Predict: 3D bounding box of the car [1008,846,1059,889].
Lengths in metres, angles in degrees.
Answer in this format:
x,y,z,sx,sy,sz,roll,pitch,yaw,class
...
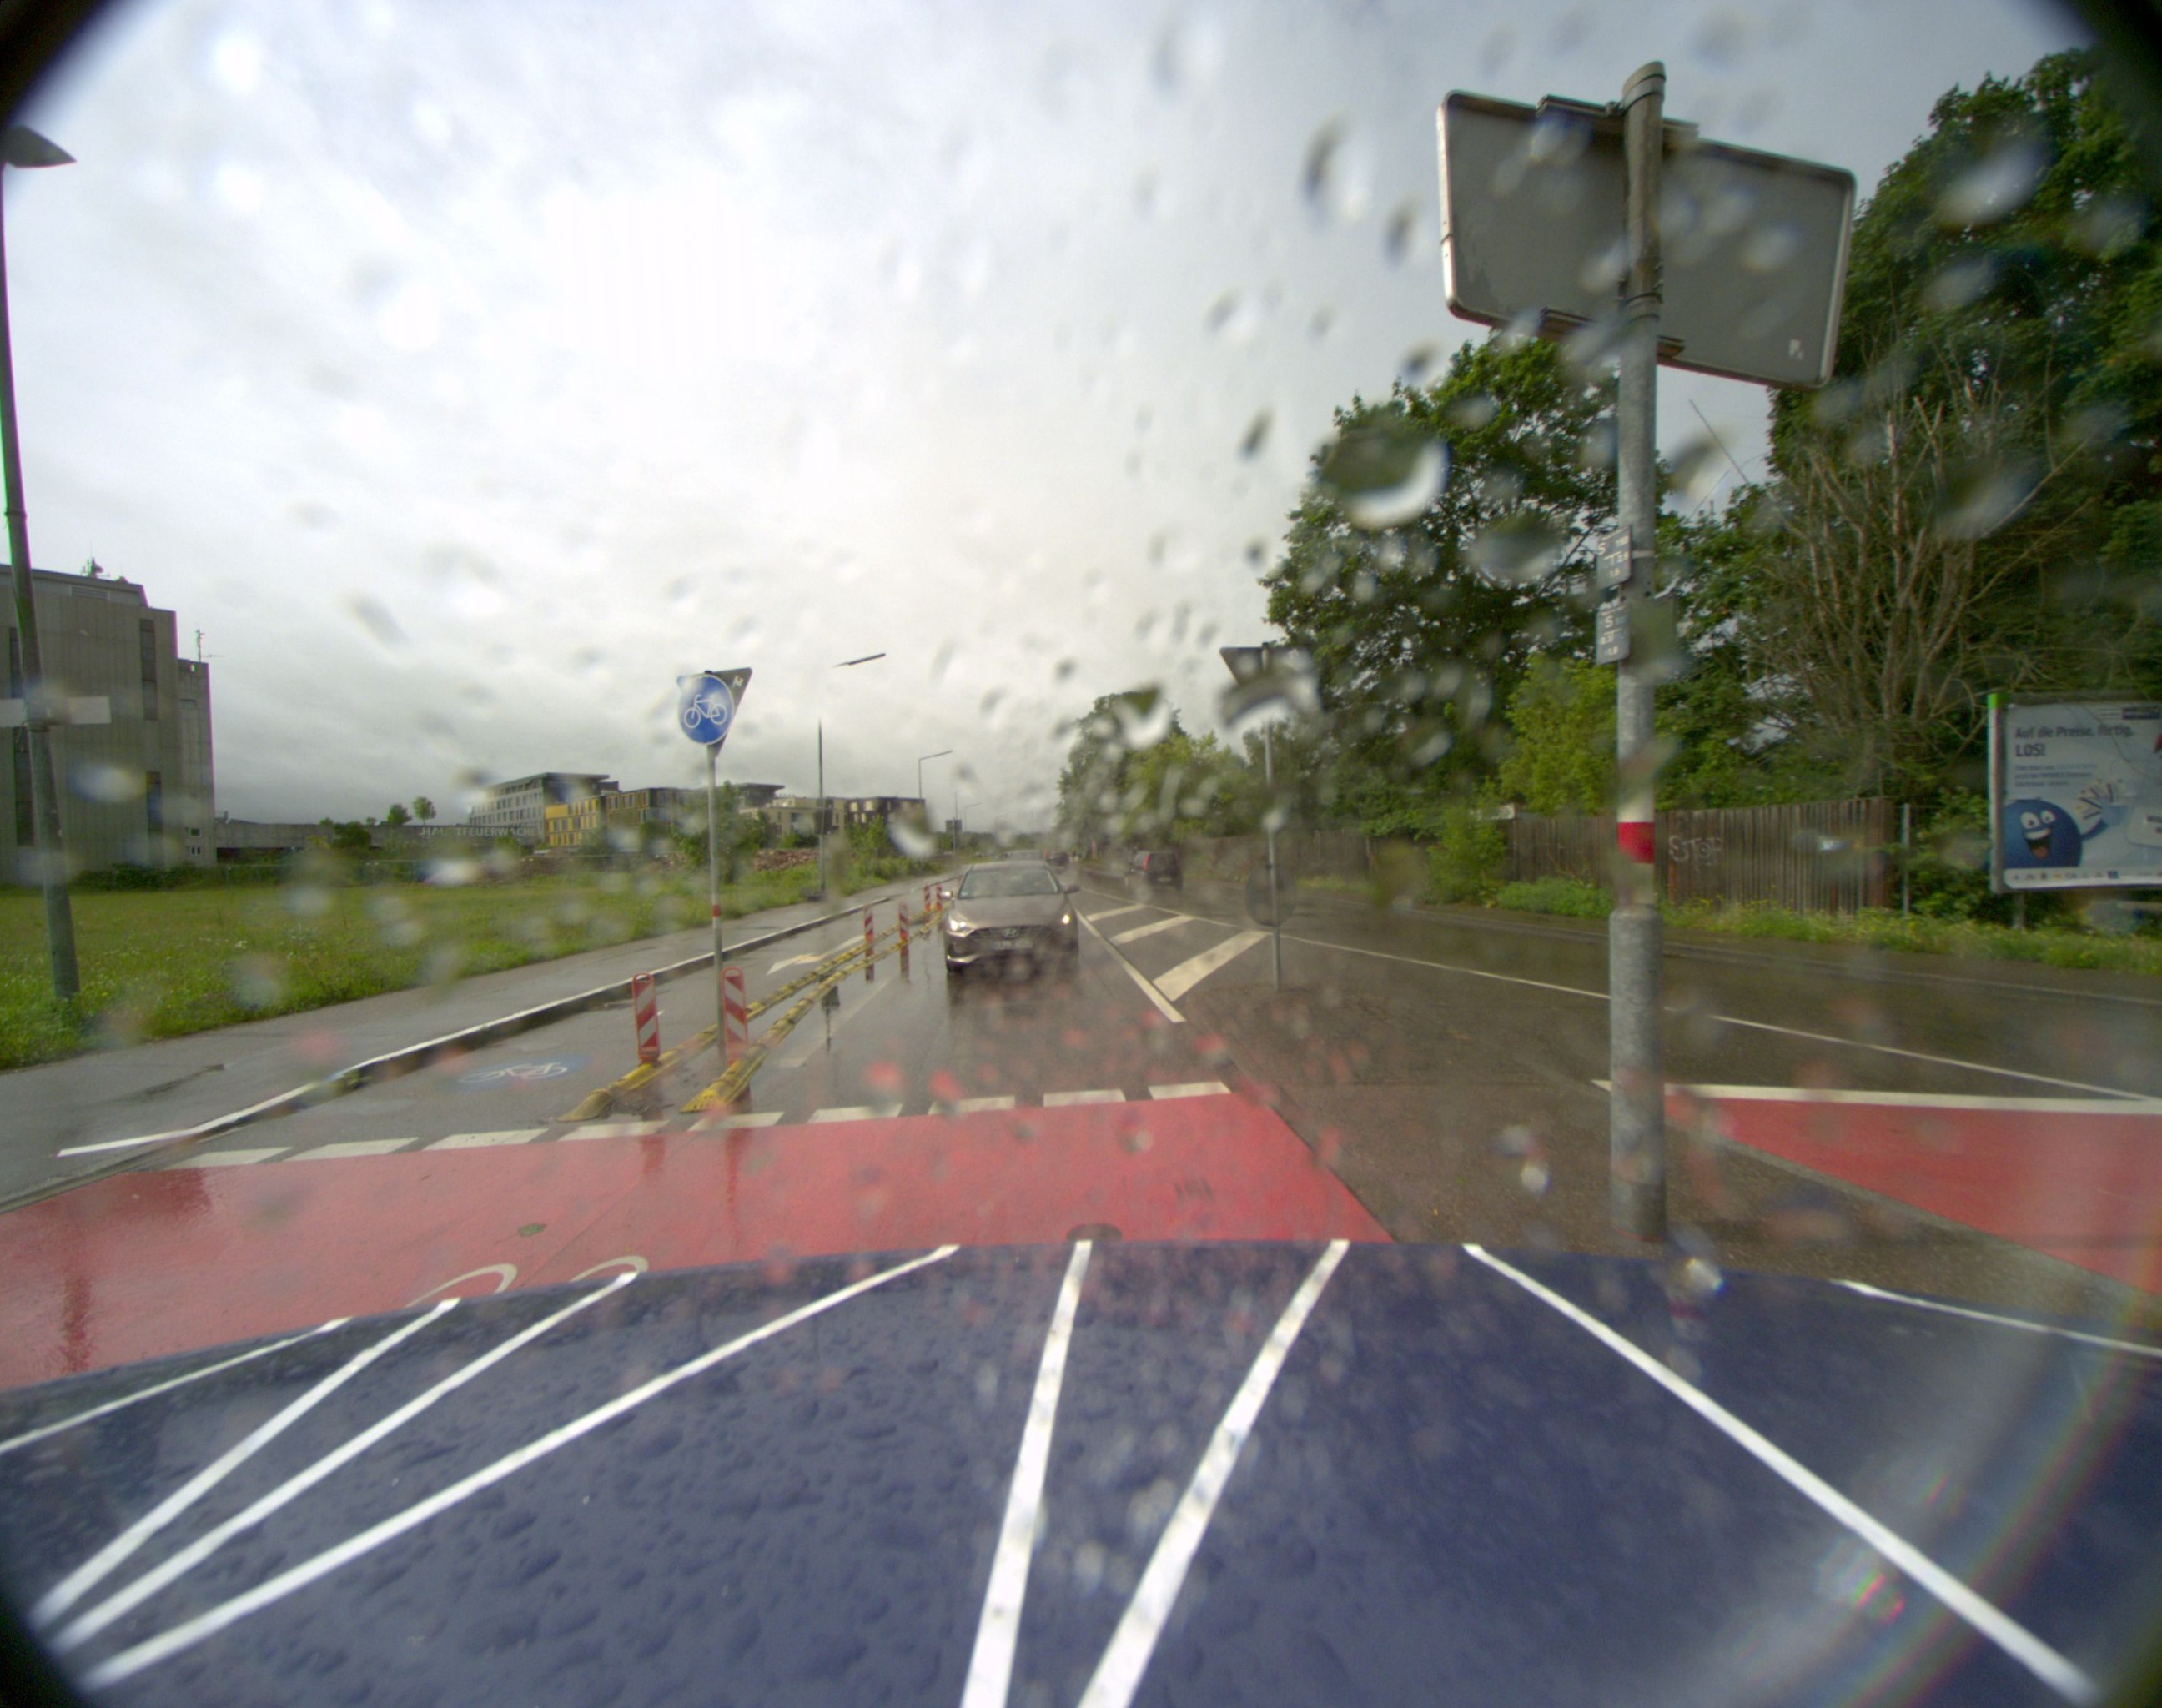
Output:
x,y,z,sx,sy,sz,roll,pitch,yaw,class
-1.979,0.523,32.766,1.874,1.653,4.482,-2,0,-1,car

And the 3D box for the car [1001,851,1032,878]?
x,y,z,sx,sy,sz,roll,pitch,yaw,class
-4.414,0.685,51.623,1.875,1.653,4.480,-4,0,-7,car

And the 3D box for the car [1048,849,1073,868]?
x,y,z,sx,sy,sz,roll,pitch,yaw,class
-1.976,0.431,71.970,1.856,1.699,3.996,-1,1,-8,car

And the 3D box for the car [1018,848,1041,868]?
x,y,z,sx,sy,sz,roll,pitch,yaw,class
-4.763,0.320,69.705,1.875,1.653,4.480,-4,0,-7,car

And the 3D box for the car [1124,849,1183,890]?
x,y,z,sx,sy,sz,roll,pitch,yaw,class
2.845,0.593,30.436,1.633,1.524,3.455,0,0,-8,car

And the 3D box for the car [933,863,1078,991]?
x,y,z,sx,sy,sz,roll,pitch,yaw,class
-0.991,0.927,11.455,1.734,1.405,4.126,-2,1,-2,car

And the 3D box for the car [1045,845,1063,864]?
x,y,z,sx,sy,sz,roll,pitch,yaw,class
-3.523,0.053,99.941,2.000,2.321,3.997,-1,0,-7,car
